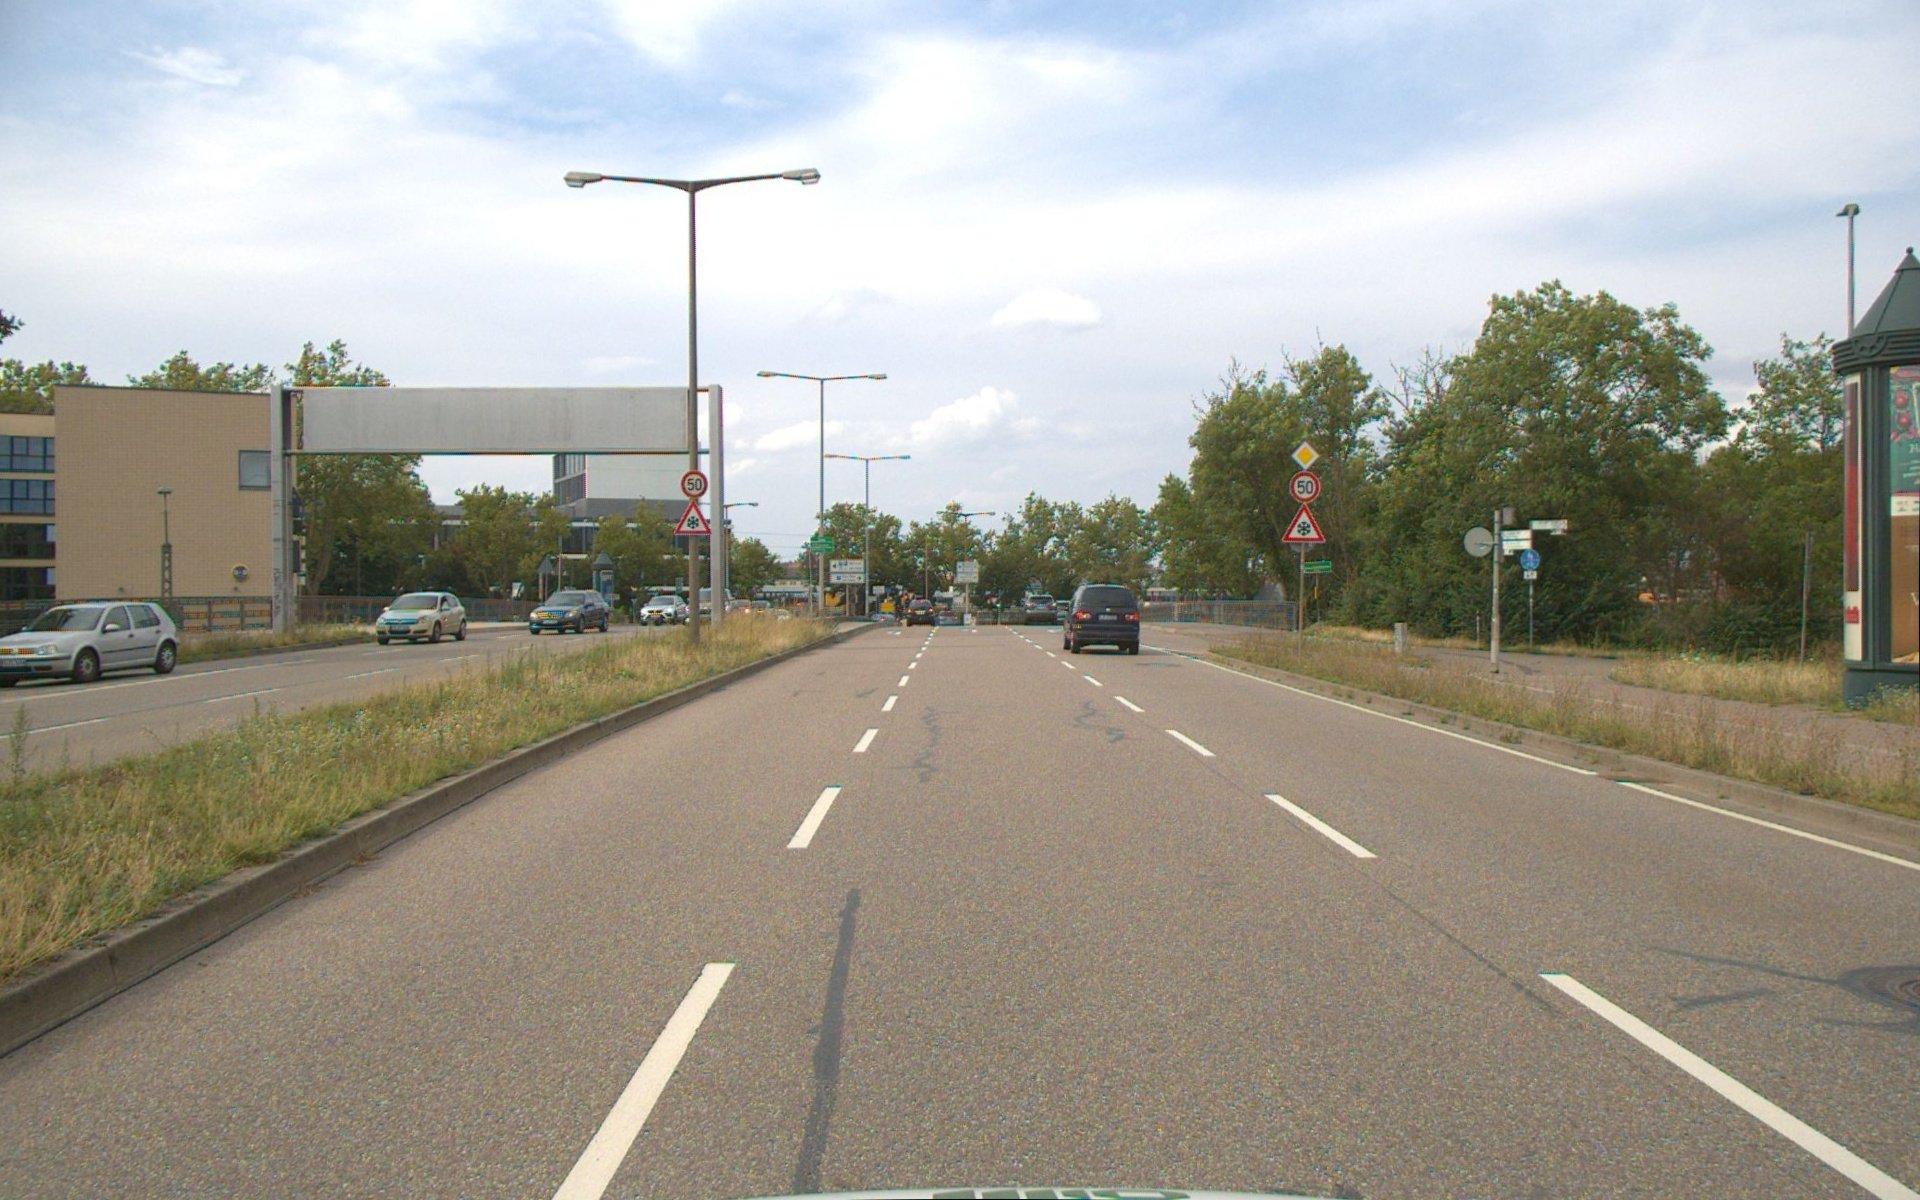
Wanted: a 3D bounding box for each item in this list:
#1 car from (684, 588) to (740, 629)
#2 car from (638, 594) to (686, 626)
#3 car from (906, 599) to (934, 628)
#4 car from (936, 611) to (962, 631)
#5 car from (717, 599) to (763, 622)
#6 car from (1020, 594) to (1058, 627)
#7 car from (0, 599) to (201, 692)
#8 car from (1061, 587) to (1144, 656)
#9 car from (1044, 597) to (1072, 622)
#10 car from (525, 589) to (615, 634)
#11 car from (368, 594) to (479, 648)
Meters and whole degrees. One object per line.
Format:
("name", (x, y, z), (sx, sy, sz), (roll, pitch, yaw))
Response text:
("car", (-9.405, 0.300, 62.953), (1.660, 1.512, 3.859), (0, 0, -2))
("car", (-15.694, 0.539, 87.301), (1.756, 1.551, 4.188), (-2, 0, -1))
("car", (-2.503, 0.831, 102.891), (1.695, 1.682, 4.114), (1, 0, -1))
("car", (-0.936, 1.715, 138.125), (1.697, 1.553, 4.109), (1, 0, -6))
("car", (-11.809, 0.557, 89.027), (1.953, 1.087, 4.000), (1, 1, -1))
("car", (4.177, 0.528, 87.760), (1.695, 1.682, 4.114), (1, 0, -1))
("car", (-16.294, 0.803, 31.195), (1.630, 1.443, 4.096), (-1, 2, 7))
("car", (3.649, 0.509, 42.981), (1.695, 1.682, 4.114), (1, 0, -1))
("car", (6.278, 0.607, 106.200), (1.476, 1.472, 3.139), (1, 1, -2))
("car", (-13.376, 0.393, 57.001), (1.631, 1.450, 4.521), (-2, 0, 5))
("car", (-15.803, 0.597, 48.906), (1.631, 1.444, 4.315), (-3, 0, 3))
